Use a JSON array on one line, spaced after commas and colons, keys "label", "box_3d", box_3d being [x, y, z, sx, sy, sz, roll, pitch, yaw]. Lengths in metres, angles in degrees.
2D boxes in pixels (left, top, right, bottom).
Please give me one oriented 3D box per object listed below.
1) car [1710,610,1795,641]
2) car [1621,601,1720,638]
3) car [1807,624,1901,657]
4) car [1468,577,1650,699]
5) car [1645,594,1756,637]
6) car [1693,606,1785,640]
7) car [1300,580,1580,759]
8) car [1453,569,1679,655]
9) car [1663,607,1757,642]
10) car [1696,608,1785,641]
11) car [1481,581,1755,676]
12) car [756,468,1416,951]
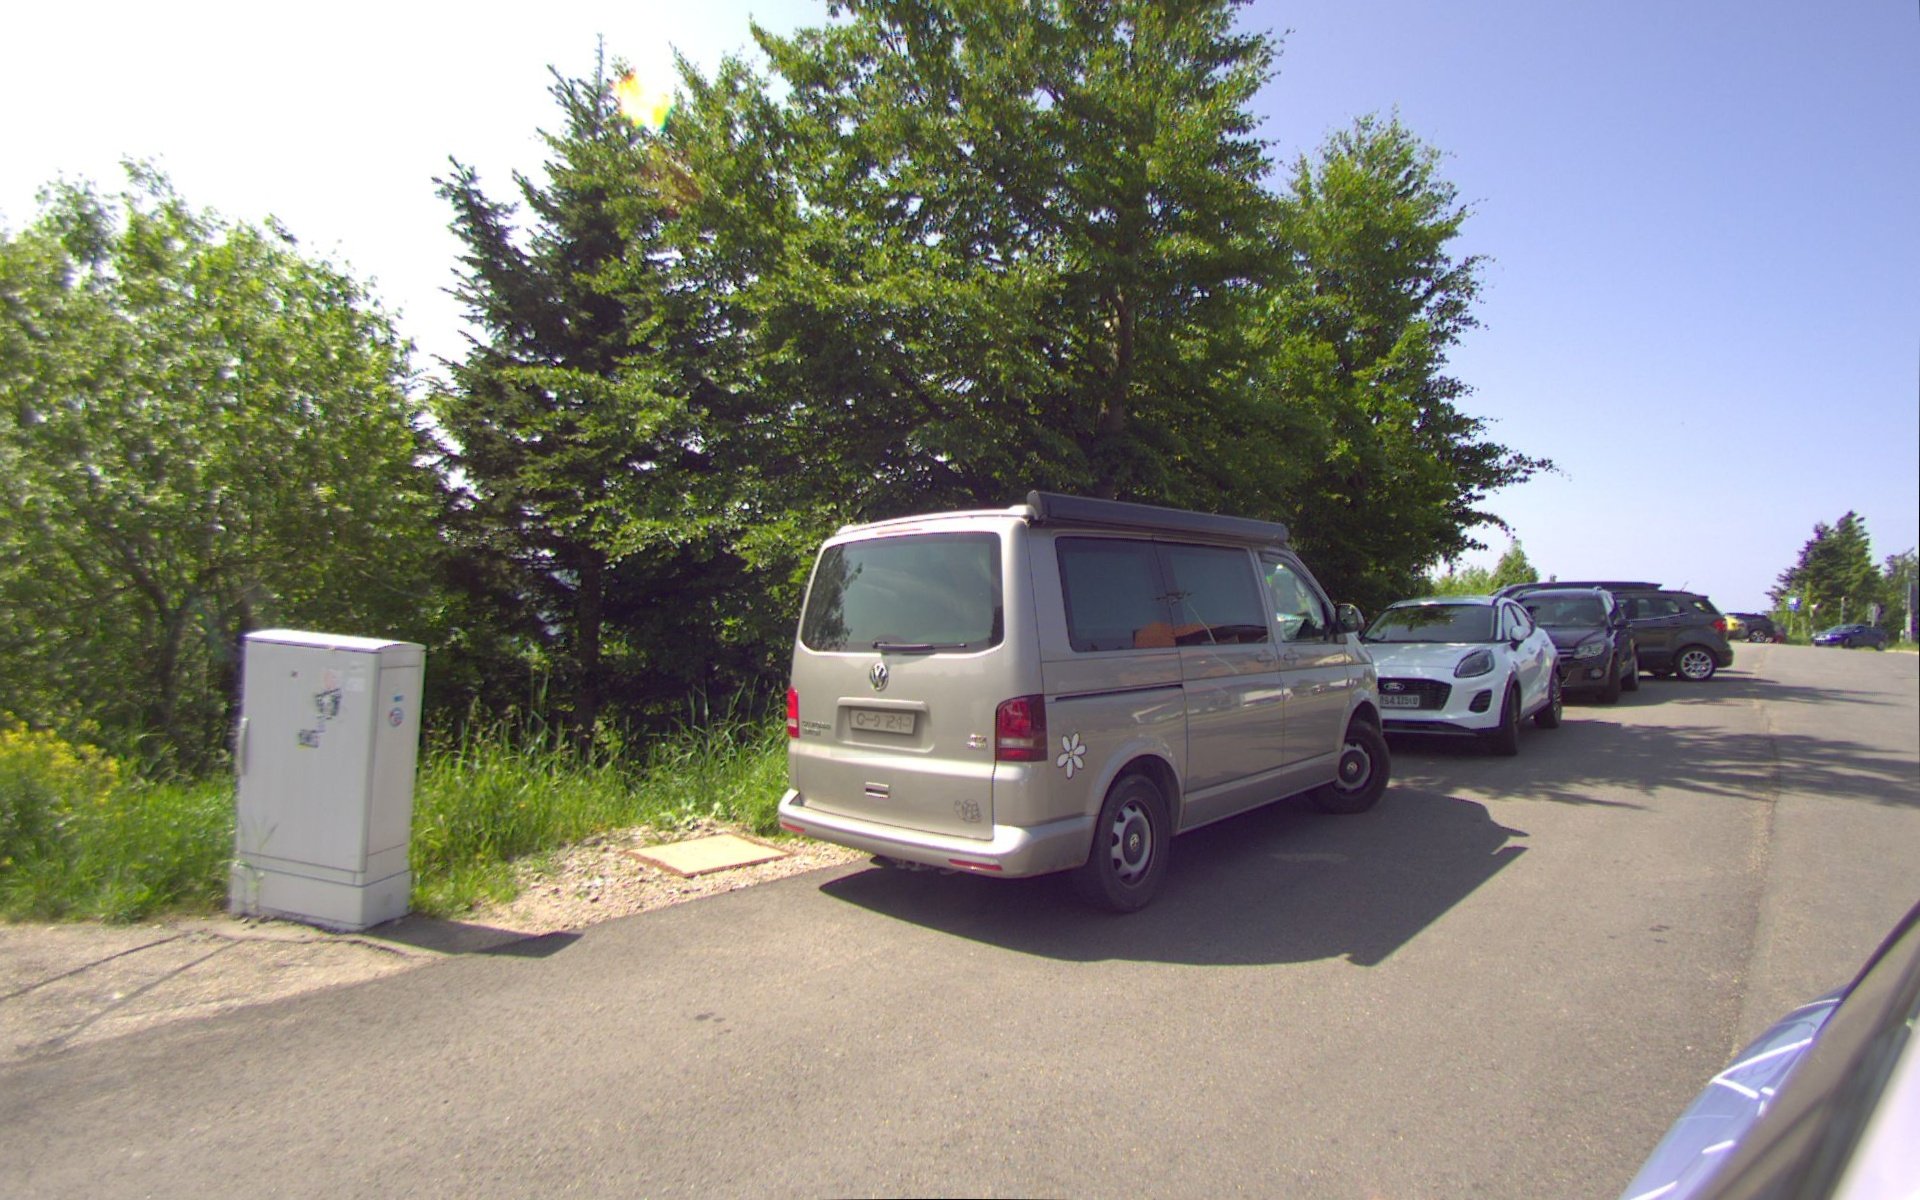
[{"label": "car", "box_3d": [48.078, 1.520, 61.423, 3.900, 1.634, 1.847, 4, 2, 43]}, {"label": "car", "box_3d": [36.206, 0.946, 51.622, 3.900, 1.634, 1.847, 4, 2, 43]}, {"label": "car", "box_3d": [51.334, 2.316, 58.165, 3.834, 1.634, 1.879, 2, 1, -6]}, {"label": "car", "box_3d": [9.354, 0.523, 15.665, 1.867, 1.639, 3.943, -1, -1, 39]}, {"label": "car", "box_3d": [38.724, 0.764, 52.978, 4.446, 1.949, 1.847, 4, 2, 43]}, {"label": "car", "box_3d": [43.571, 1.257, 56.652, 3.900, 1.634, 1.847, 4, 2, 43]}, {"label": "car", "box_3d": [5.340, 0.624, 10.998, 1.867, 1.567, 3.943, -1, -1, 39]}, {"label": "car", "box_3d": [14.569, 0.309, 24.654, 4.406, 1.950, 1.863, -1, -1, 21]}, {"label": "car", "box_3d": [40.917, 1.279, 55.260, 3.900, 1.634, 1.847, 4, 2, 43]}, {"label": "car", "box_3d": [45.202, 1.369, 58.639, 3.900, 1.634, 1.847, 4, 2, 43]}, {"label": "car", "box_3d": [12.170, 0.527, 19.055, 3.951, 1.639, 1.863, -1, -1, 21]}, {"label": "car", "box_3d": [1.124, 0.468, 6.425, 1.856, 1.960, 4.537, -2, -2, 43]}]
